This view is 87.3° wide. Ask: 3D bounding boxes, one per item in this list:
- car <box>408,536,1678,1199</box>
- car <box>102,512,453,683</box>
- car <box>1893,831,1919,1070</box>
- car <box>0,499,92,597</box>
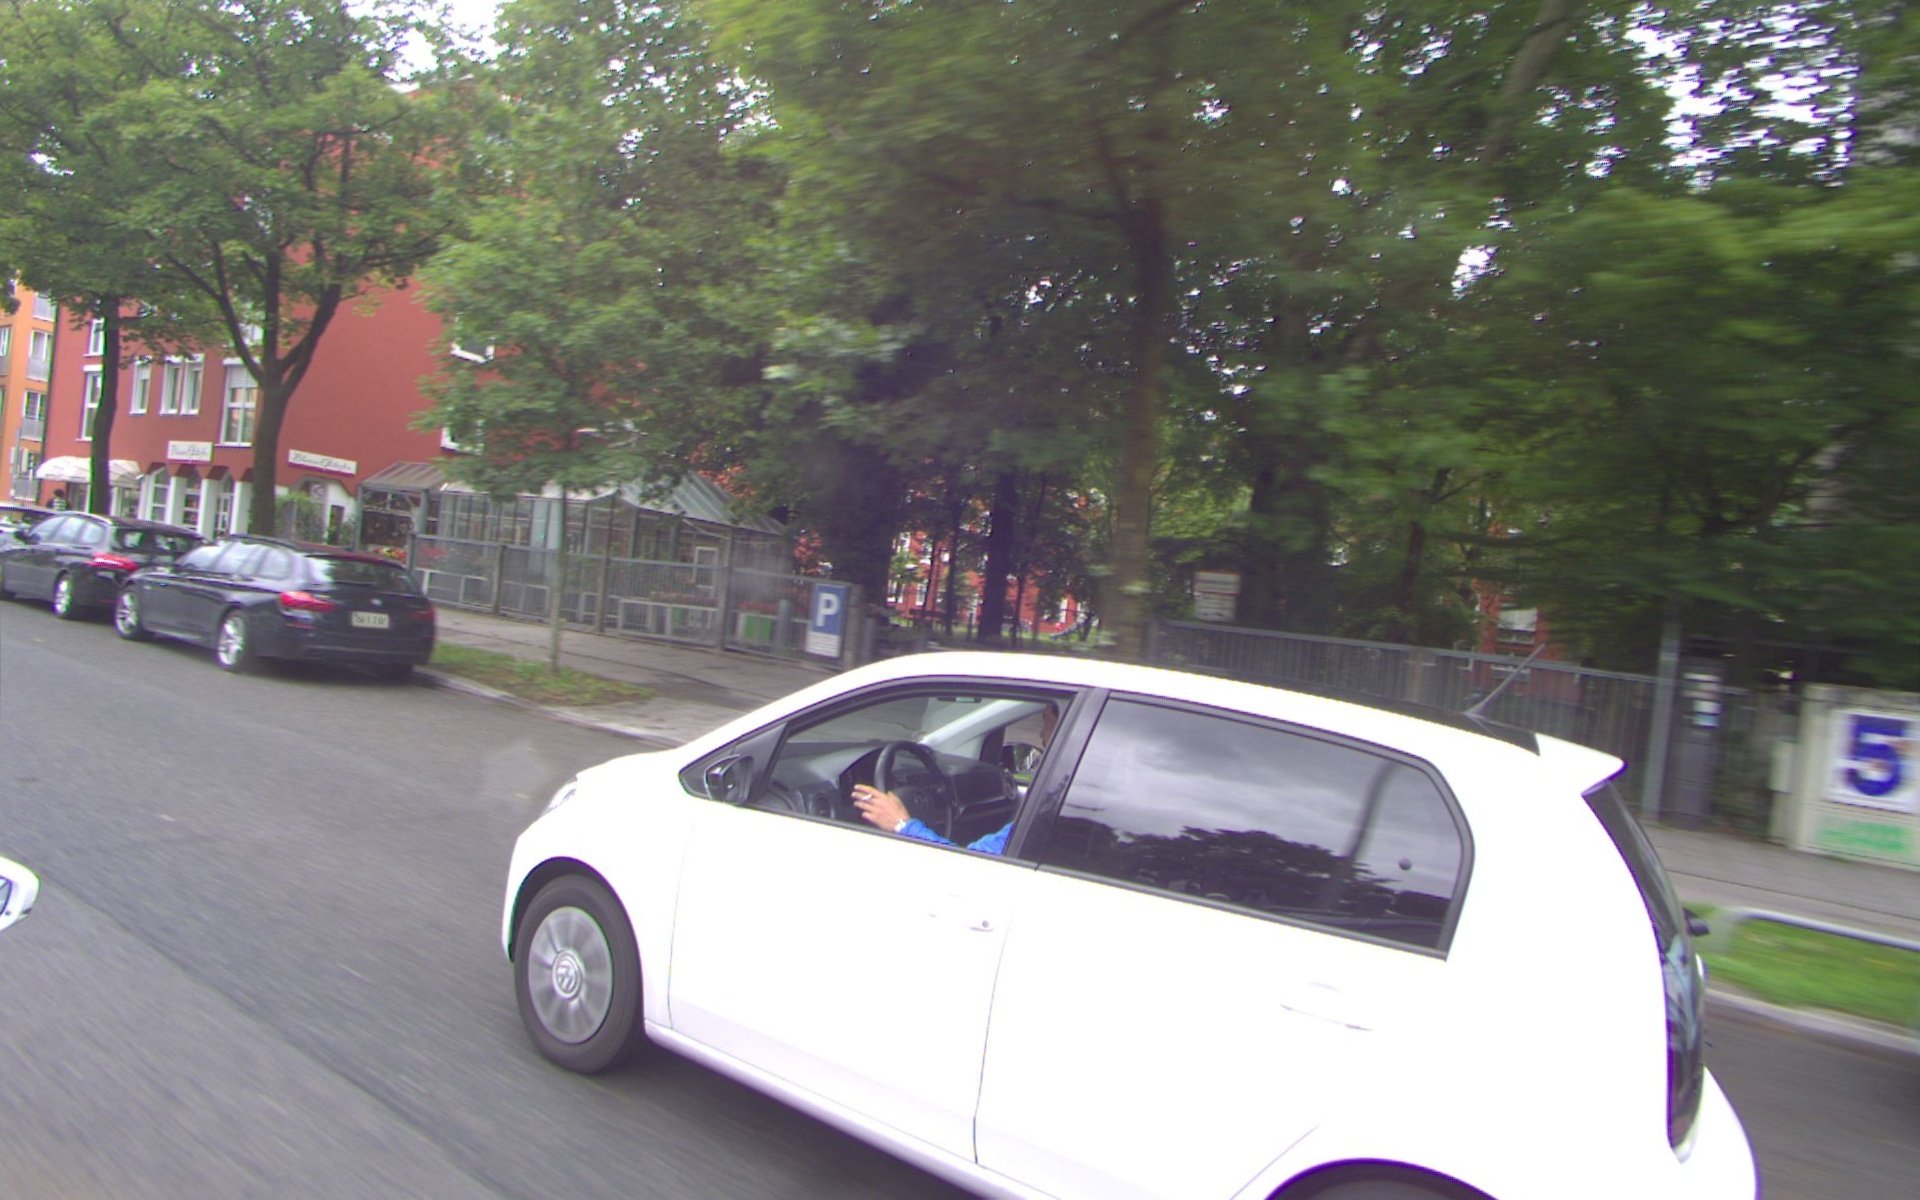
[{"bbox_3d":[0.084,0.784,3.276,3.377,1.507,1.690,7,-2,31],"label":"car"},{"bbox_3d":[-8.199,-0.080,11.940,4.631,1.470,1.655,7,0,32],"label":"car"},{"bbox_3d":[5.887,1.562,3.193,3.936,1.469,1.655,7,-1,34],"label":"car"},{"bbox_3d":[-16.823,-1.033,17.358,4.056,1.470,1.696,7,0,34],"label":"car"}]
